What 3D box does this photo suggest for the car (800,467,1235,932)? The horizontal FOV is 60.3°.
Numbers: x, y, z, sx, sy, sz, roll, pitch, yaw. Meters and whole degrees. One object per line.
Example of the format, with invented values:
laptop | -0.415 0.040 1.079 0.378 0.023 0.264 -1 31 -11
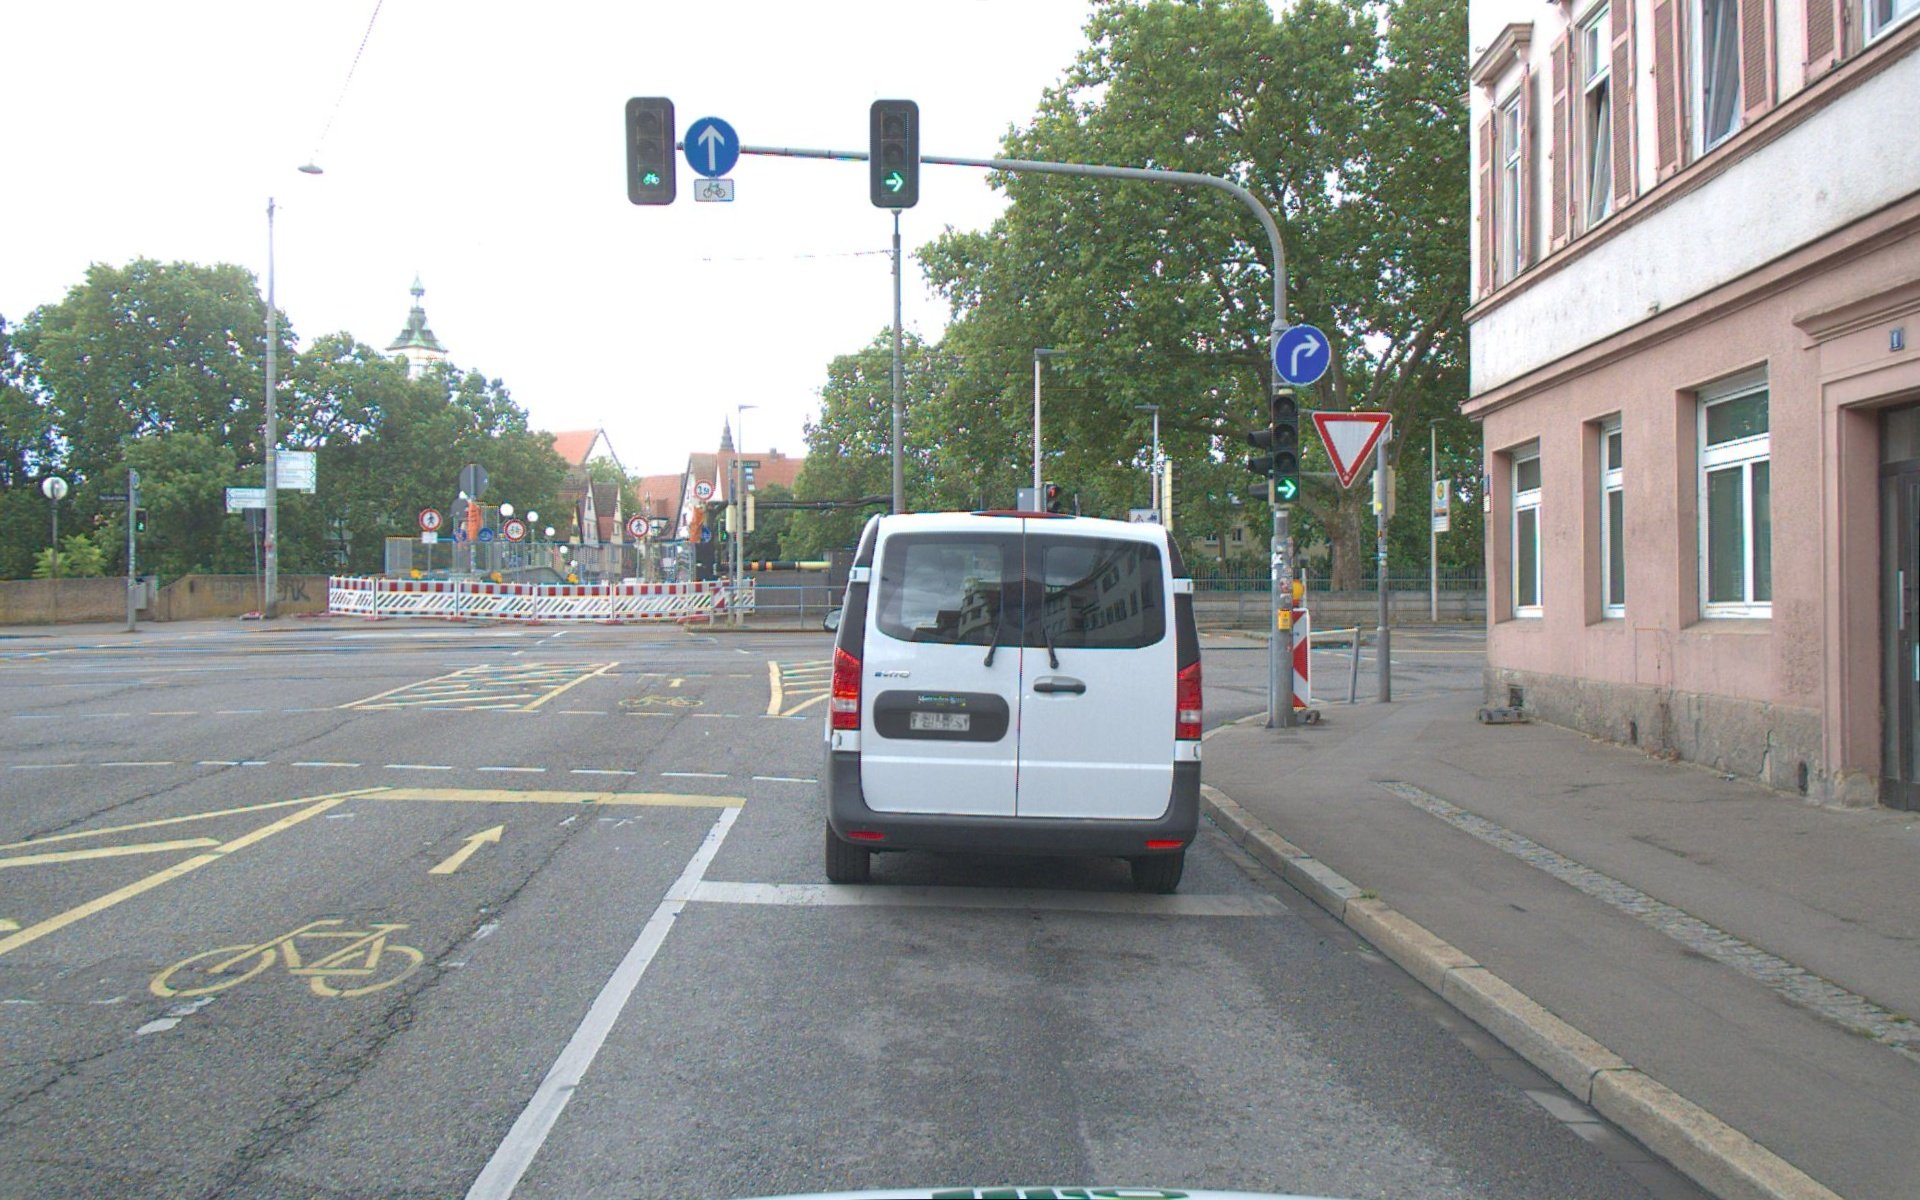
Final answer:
car | 0.238 0.398 9.732 1.911 2.048 4.698 1 1 -1
